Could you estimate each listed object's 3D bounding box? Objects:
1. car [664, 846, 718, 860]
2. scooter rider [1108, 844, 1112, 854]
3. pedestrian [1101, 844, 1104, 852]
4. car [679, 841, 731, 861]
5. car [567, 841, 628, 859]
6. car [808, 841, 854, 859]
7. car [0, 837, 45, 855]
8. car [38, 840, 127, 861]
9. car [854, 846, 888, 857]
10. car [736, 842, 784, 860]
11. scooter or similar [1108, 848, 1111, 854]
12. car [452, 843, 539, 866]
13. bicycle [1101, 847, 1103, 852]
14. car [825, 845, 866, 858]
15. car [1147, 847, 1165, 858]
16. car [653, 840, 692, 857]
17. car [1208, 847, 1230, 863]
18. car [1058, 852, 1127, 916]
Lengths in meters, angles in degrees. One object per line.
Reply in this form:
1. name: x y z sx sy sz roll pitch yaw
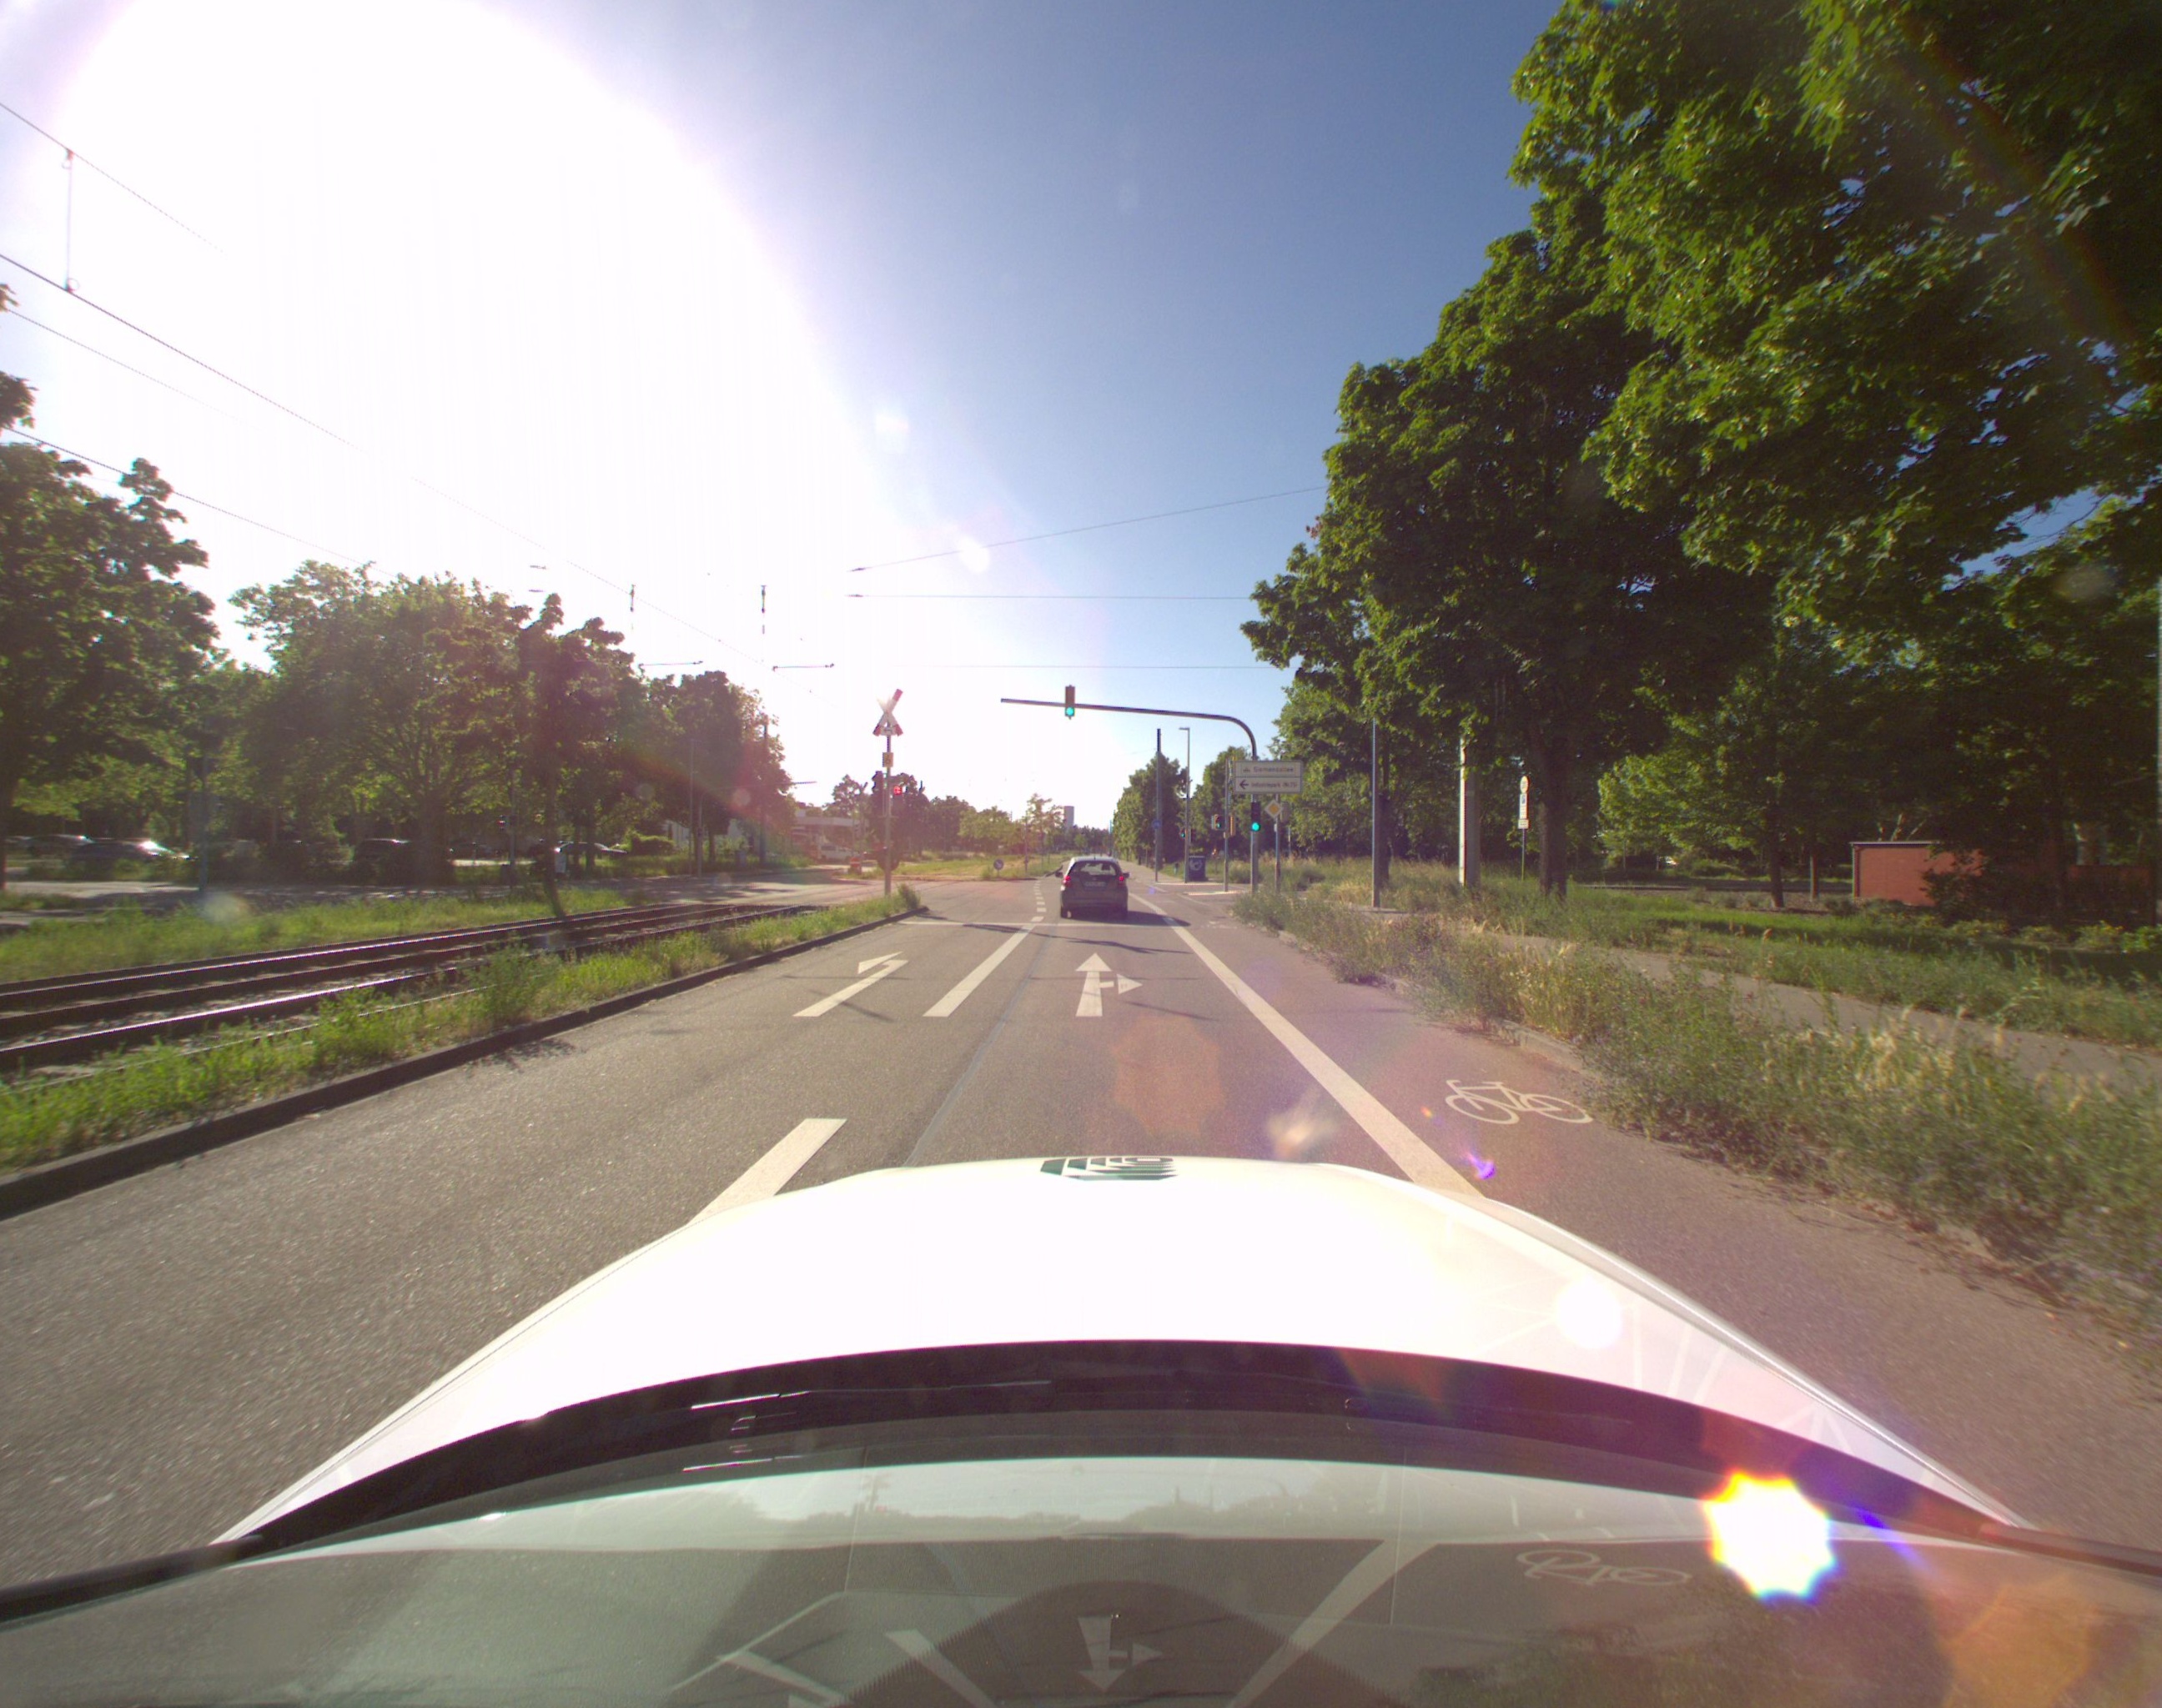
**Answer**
1. car: -34.864 -0.124 72.870 3.957 1.167 1.664 1 0 -4
2. scooter rider: 5.482 -0.916 156.562 0.714 1.901 0.934 0 0 -2
3. pedestrian: 5.102 -1.401 196.971 0.720 1.800 1.164 0 0 -1
4. car: -40.680 -0.359 88.205 4.707 2.091 2.020 0 1 -1
5. car: -39.523 -0.312 66.632 3.958 1.432 1.663 0 1 -5
6. car: -28.539 -0.474 93.000 1.837 1.974 4.817 1 1 38
7. car: -98.329 -0.766 74.970 3.966 1.606 1.834 1 0 6
8. car: -71.820 -0.244 58.614 3.958 1.449 1.744 1 0 -5
9. car: -28.259 -0.354 109.730 4.060 1.568 1.791 0 1 -2
10. car: -31.481 -0.285 80.023 3.958 1.526 1.727 2 -3 -5
11. scooter or similar: 5.490 -0.502 156.513 0.538 1.118 1.416 0 0 -1
12. car: -36.709 -0.001 51.185 3.991 1.381 1.865 0 1 -13
13. bicycle: 5.104 -1.084 196.856 0.510 1.241 3.089 0 1 0
14. car: -28.229 -0.308 97.678 1.769 1.528 4.499 1 1 38
15. car: 9.427 -0.161 102.151 1.770 1.386 3.866 0 0 -3
16. car: -40.581 -0.555 80.922 1.570 1.544 4.093 1 0 4
17. car: 17.208 0.095 101.768 1.865 1.966 5.167 1 0 0
18. car: 0.364 0.709 21.151 1.617 1.499 3.460 1 0 3
